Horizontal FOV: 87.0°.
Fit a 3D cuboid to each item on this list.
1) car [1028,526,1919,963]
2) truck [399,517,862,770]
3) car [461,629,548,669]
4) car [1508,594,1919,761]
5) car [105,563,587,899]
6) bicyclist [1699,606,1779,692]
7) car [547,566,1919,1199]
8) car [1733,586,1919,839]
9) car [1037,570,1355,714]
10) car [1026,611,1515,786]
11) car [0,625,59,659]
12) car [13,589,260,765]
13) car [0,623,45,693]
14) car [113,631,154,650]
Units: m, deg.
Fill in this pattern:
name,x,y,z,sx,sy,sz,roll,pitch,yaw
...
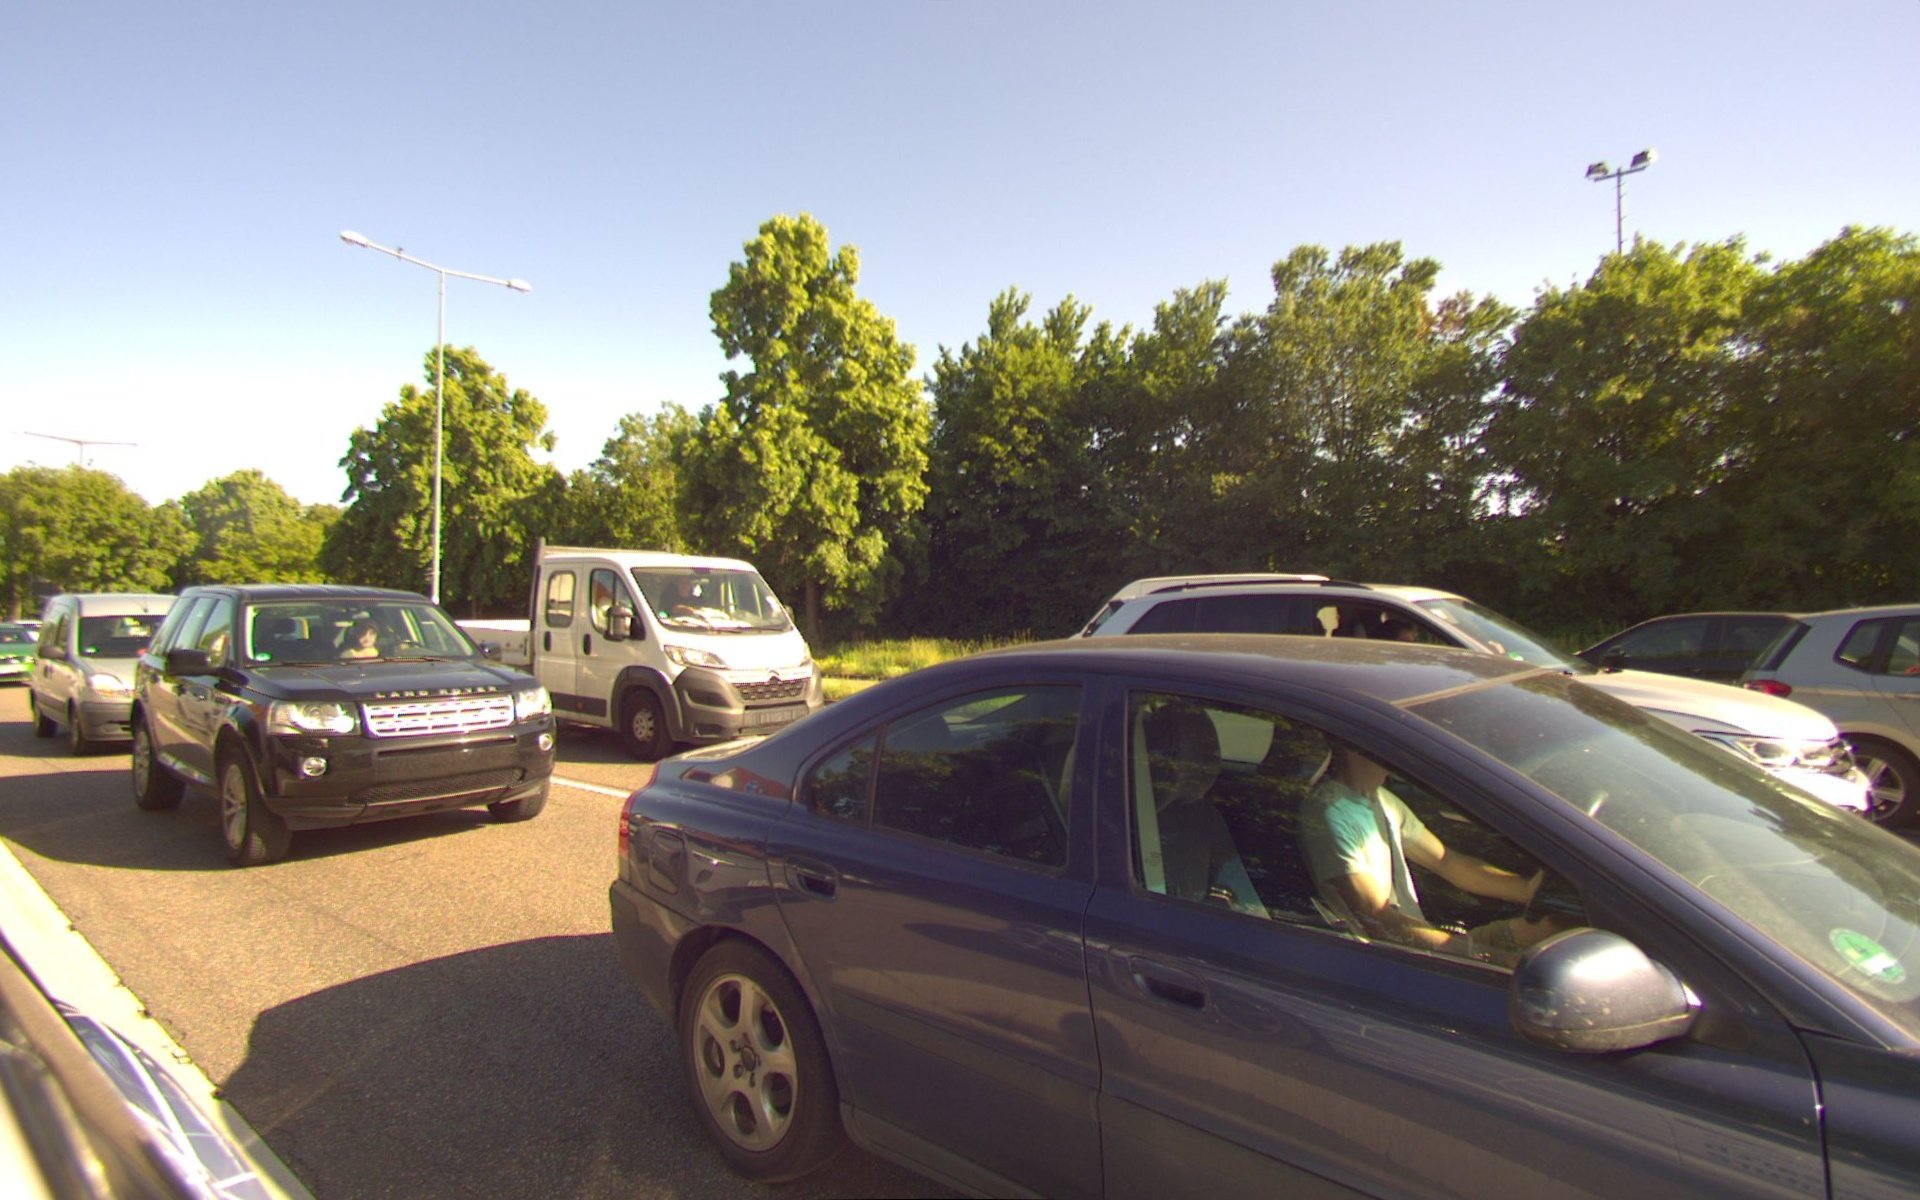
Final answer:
name,x,y,z,sx,sy,sz,roll,pitch,yaw
car,2.763,0.641,6.213,4.422,1.723,1.973,-2,-3,41
truck,-4.362,0.439,12.415,6.838,2.337,2.158,-1,-1,40
car,-18.370,1.948,40.746,4.001,1.521,1.668,-2,-3,41
car,8.939,0.802,11.319,4.613,1.614,1.973,-2,-3,41
car,-4.672,0.704,7.401,4.384,1.744,1.793,-1,-1,41
bicyclist,15.537,0.974,20.215,1.197,1.661,0.868,-1,-3,36
car,0.954,0.695,2.371,4.454,1.463,1.757,-1,0,41
car,7.633,0.724,6.412,4.206,1.623,1.810,-2,-3,42
car,4.582,0.820,20.486,5.999,2.511,2.078,-2,-3,40
car,3.035,0.886,10.552,4.550,1.440,1.811,-2,-3,41
car,-41.374,1.841,44.664,3.994,1.456,1.706,-1,-3,38
car,-10.049,0.797,12.221,4.384,1.765,1.611,-1,-1,41
car,-22.055,1.274,22.830,3.929,1.486,1.610,-2,-2,41
car,-68.729,3.324,84.144,4.501,1.536,1.869,-1,-3,40
